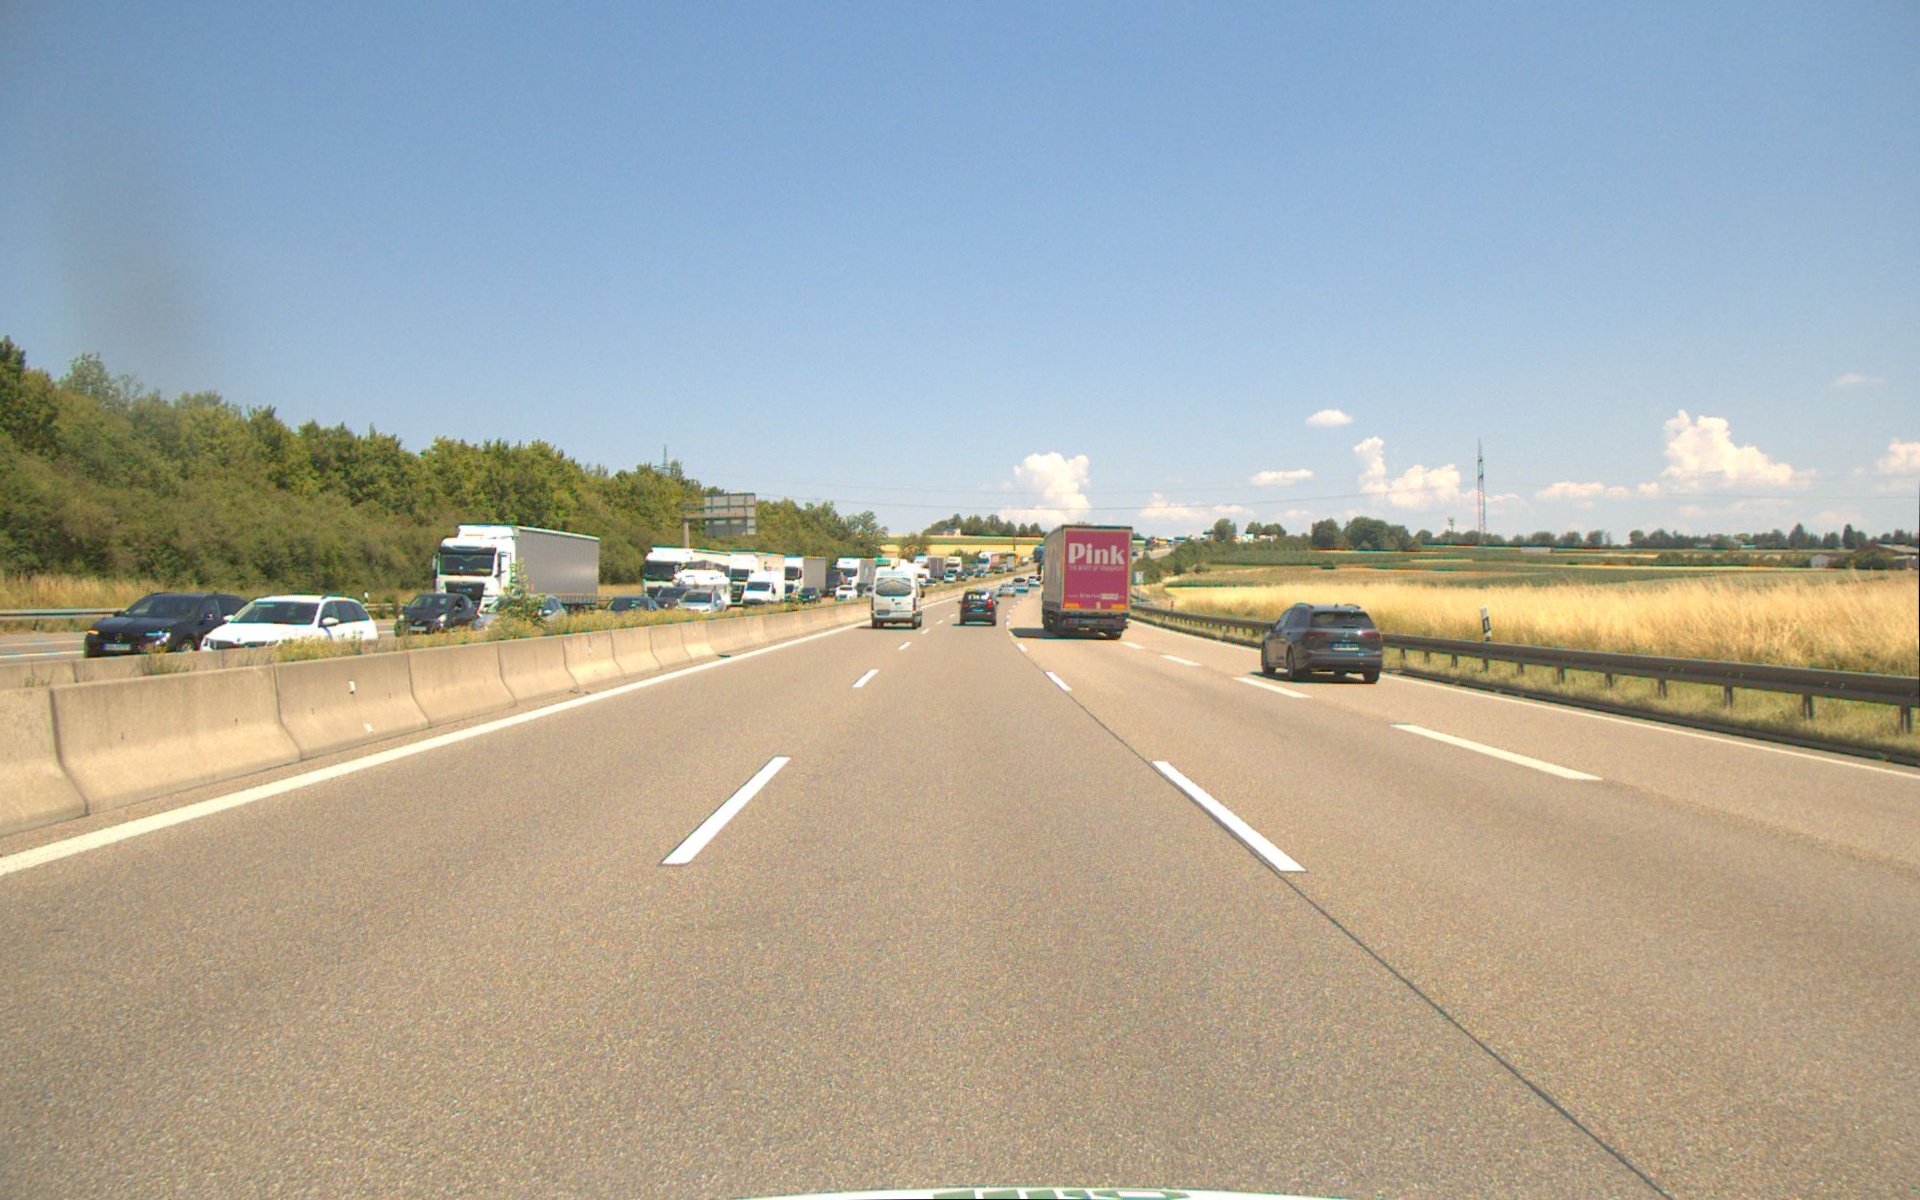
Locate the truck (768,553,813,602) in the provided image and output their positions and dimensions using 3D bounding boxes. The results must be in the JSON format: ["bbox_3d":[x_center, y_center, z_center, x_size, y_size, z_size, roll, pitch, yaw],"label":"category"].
[{"bbox_3d":[-15.507,-2.042,151.529,2.899,4.283,6.608,1,0,4],"label":"truck"}]

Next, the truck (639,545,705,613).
[{"bbox_3d":[-17.921,-1.300,103.246,2.789,4.077,5.976,0,0,2],"label":"truck"}]

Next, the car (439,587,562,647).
[{"bbox_3d":[-11.937,0.407,43.296,1.953,1.470,4.792,0,0,-1],"label":"car"}]

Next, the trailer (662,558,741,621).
[{"bbox_3d":[-14.239,-0.534,91.978,2.811,3.239,10.727,1,0,-1],"label":"trailer"}]

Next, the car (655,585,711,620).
[{"bbox_3d":[-14.059,0.121,84.270,2.064,1.753,4.930,0,0,-1],"label":"car"}]

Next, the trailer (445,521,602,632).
[{"bbox_3d":[-19.092,-0.994,73.643,3.155,4.498,13.781,0,0,1],"label":"trailer"}]

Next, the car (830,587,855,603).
[{"bbox_3d":[-11.295,-0.451,159.055,1.842,1.500,4.408,0,0,2],"label":"car"}]

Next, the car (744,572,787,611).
[{"bbox_3d":[-13.481,-0.598,115.107,1.858,2.619,7.575,0,0,2],"label":"car"}]

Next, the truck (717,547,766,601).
[{"bbox_3d":[-16.934,-2.020,128.498,2.698,4.113,6.101,1,1,2],"label":"truck"}]

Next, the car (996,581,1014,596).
[{"bbox_3d":[4.939,-1.303,181.994,1.952,1.612,4.001,0,1,1],"label":"car"}]

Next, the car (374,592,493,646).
[{"bbox_3d":[-15.759,0.550,49.725,1.952,1.547,4.309,0,0,4],"label":"car"}]

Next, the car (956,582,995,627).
[{"bbox_3d":[0.763,0.181,79.236,1.809,1.893,4.208,0,3,2],"label":"car"}]

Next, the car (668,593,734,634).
[{"bbox_3d":[-11.161,0.547,71.584,1.803,1.706,4.444,0,0,5],"label":"car"}]

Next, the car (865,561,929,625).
[{"bbox_3d":[-2.681,-0.279,71.464,2.134,2.670,4.675,1,0,5],"label":"car"}]

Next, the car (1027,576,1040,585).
[{"bbox_3d":[10.863,-2.906,245.201,1.952,1.333,4.002,0,2,3],"label":"car"}]

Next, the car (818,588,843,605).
[{"bbox_3d":[-13.679,-0.400,175.080,1.951,1.756,4.409,0,0,5],"label":"car"}]

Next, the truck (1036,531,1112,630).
[{"bbox_3d":[4.913,-0.899,72.316,2.856,4.078,6.512,1,1,0],"label":"truck"}]

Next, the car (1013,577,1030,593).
[{"bbox_3d":[7.741,-1.896,207.929,1.952,1.937,4.002,1,0,4],"label":"car"}]

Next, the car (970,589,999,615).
[{"bbox_3d":[1.755,0.127,117.788,1.952,1.780,4.001,1,0,3],"label":"car"}]

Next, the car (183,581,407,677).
[{"bbox_3d":[-11.644,0.472,29.404,1.953,1.547,5.150,0,0,-1],"label":"car"}]

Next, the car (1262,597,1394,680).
[{"bbox_3d":[7.213,0.725,32.835,1.724,1.496,4.537,1,0,2],"label":"car"}]

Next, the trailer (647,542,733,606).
[{"bbox_3d":[-17.701,-1.649,109.545,2.843,3.940,13.881,0,0,2],"label":"trailer"}]

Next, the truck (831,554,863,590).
[{"bbox_3d":[-13.078,-3.317,192.132,2.793,4.106,6.608,0,1,4],"label":"truck"}]

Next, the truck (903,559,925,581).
[{"bbox_3d":[-6.984,-4.635,251.933,2.485,3.263,7.595,1,2,5],"label":"truck"}]

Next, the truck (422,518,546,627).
[{"bbox_3d":[-19.182,-1.072,67.052,3.133,4.205,6.184,0,0,1],"label":"truck"}]

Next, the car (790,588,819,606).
[{"bbox_3d":[-13.060,-0.287,139.105,1.837,1.459,4.926,1,1,2],"label":"car"}]

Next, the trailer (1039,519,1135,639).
[{"bbox_3d":[4.815,-0.881,65.342,2.858,4.189,13.861,1,1,1],"label":"trailer"}]

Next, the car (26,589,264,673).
[{"bbox_3d":[-15.302,0.535,31.376,1.838,1.475,4.635,0,0,6],"label":"car"}]
